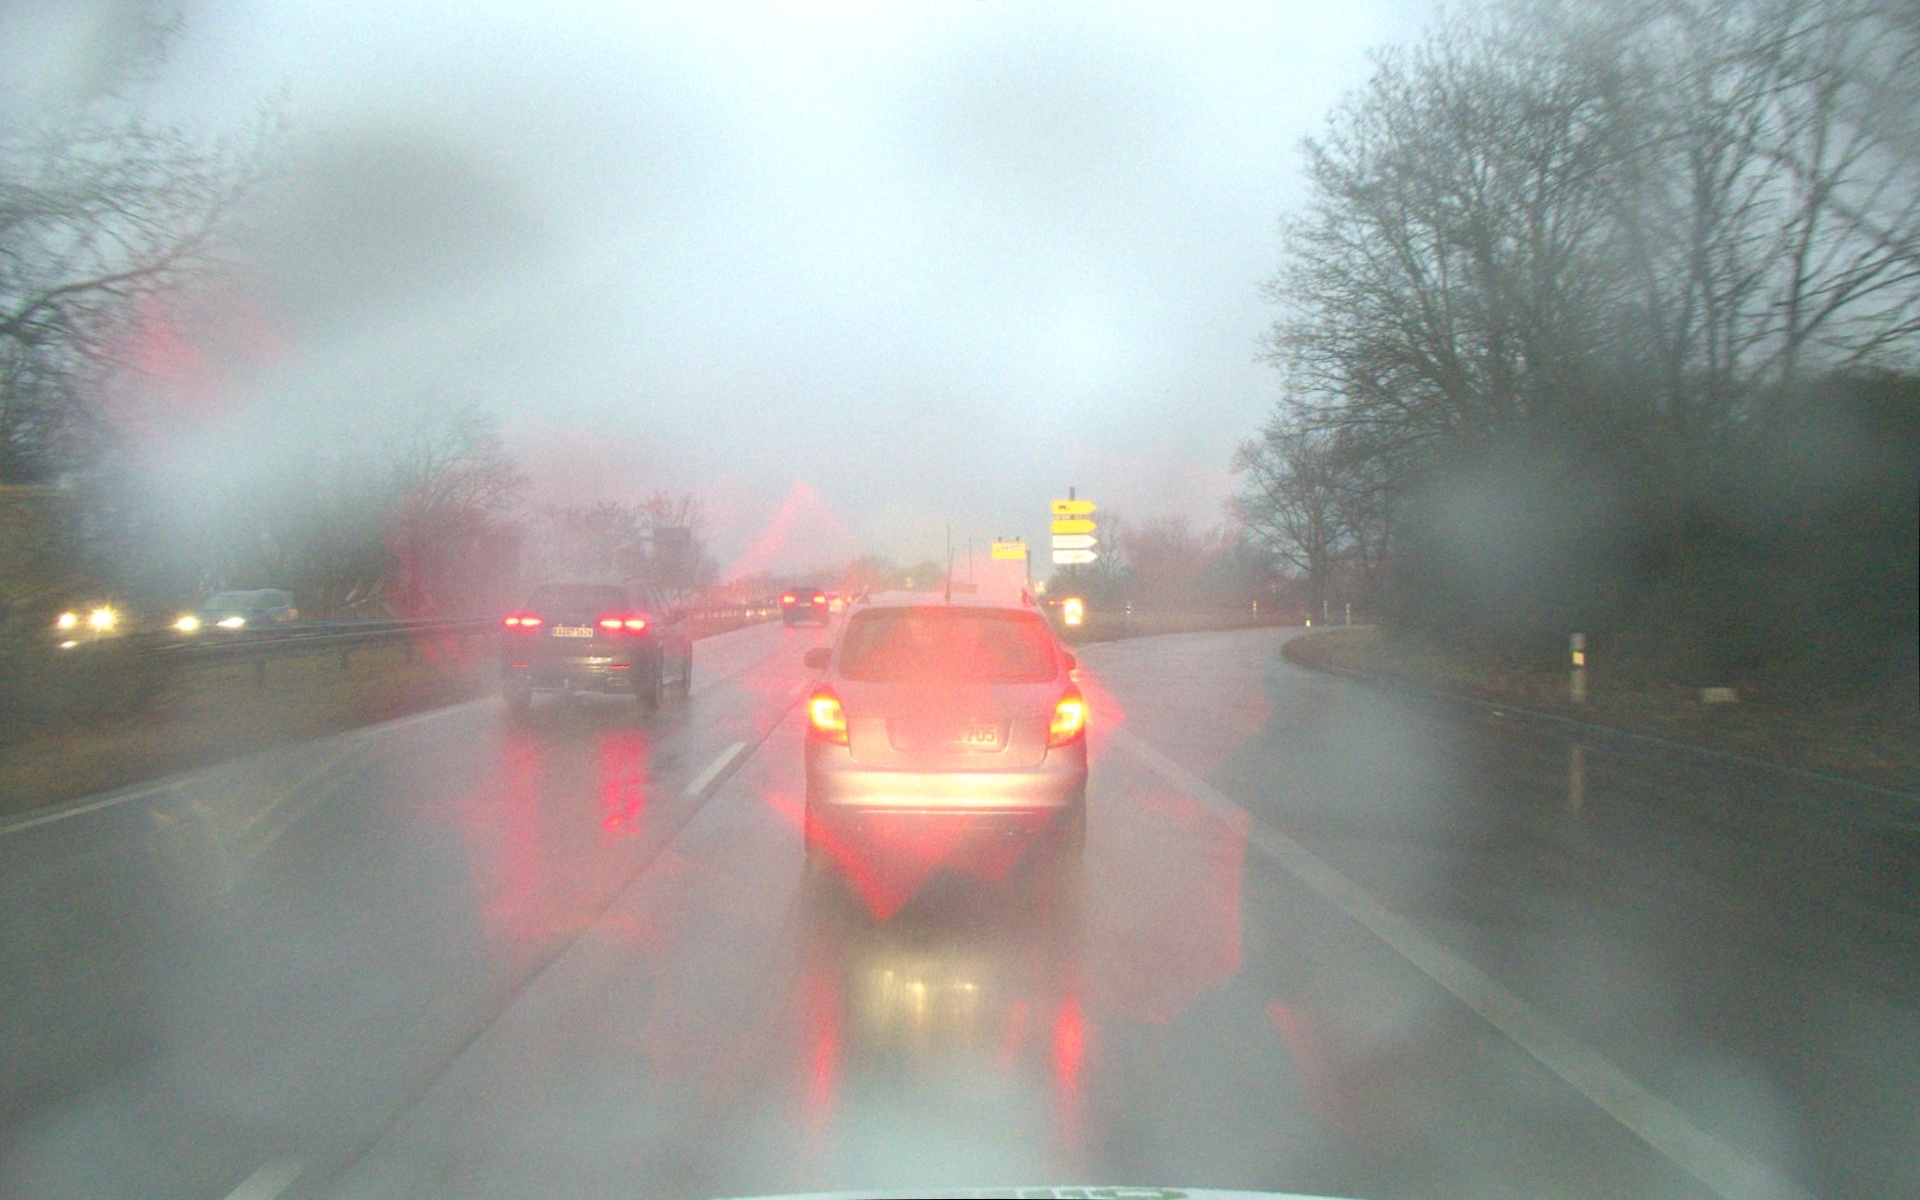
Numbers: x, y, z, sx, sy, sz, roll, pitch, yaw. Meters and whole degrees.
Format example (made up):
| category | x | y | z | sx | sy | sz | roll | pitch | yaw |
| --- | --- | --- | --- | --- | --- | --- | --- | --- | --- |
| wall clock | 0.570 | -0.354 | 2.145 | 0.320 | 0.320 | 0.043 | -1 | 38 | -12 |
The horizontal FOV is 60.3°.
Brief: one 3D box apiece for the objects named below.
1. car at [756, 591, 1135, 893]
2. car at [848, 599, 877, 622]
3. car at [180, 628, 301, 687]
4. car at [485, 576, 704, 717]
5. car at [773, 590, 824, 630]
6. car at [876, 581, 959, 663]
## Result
| category | x | y | z | sx | sy | sz | roll | pitch | yaw |
| --- | --- | --- | --- | --- | --- | --- | --- | --- | --- |
| car | -0.073 | 0.752 | 10.769 | 1.953 | 1.527 | 4.137 | -2 | 0 | 0 |
| car | -6.784 | 0.728 | 115.439 | 1.753 | 1.509 | 4.000 | -2 | 0 | 0 |
| car | -21.628 | 1.684 | 49.918 | 1.615 | 1.593 | 4.597 | -2 | 0 | 0 |
| car | -4.546 | 0.530 | 21.236 | 1.953 | 1.629 | 4.307 | 0 | 0 | -2 |
| car | -6.764 | 0.396 | 69.546 | 1.753 | 1.572 | 4.000 | -1 | 1 | 0 |
| car | -1.023 | 0.480 | 39.672 | 1.859 | 1.798 | 4.307 | -1 | 1 | -2 |
